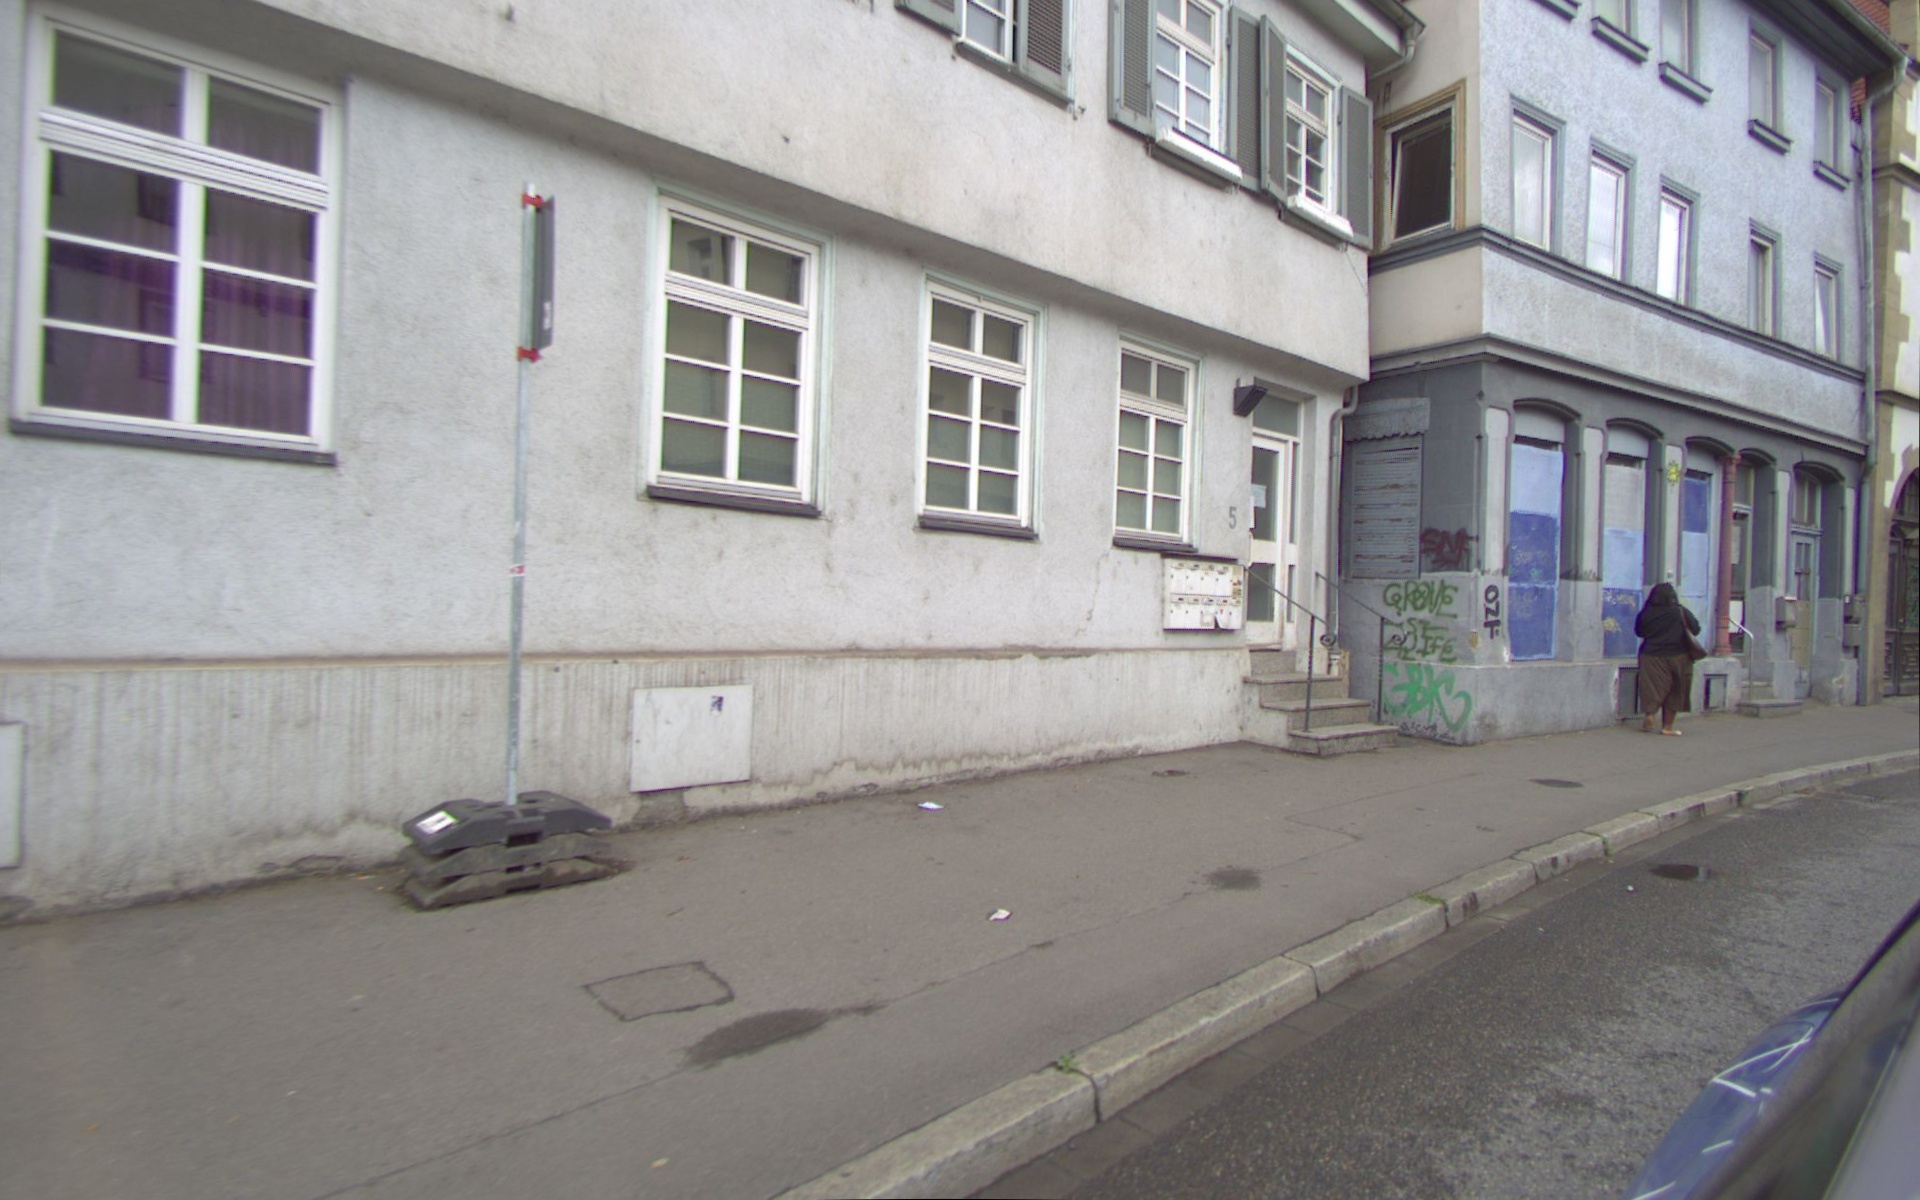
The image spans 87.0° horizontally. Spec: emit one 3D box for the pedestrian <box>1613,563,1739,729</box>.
[{"bbox_3d":[7.764,0.481,10.988,0.793,1.687,0.758,2,3,-32],"label":"pedestrian"}]
